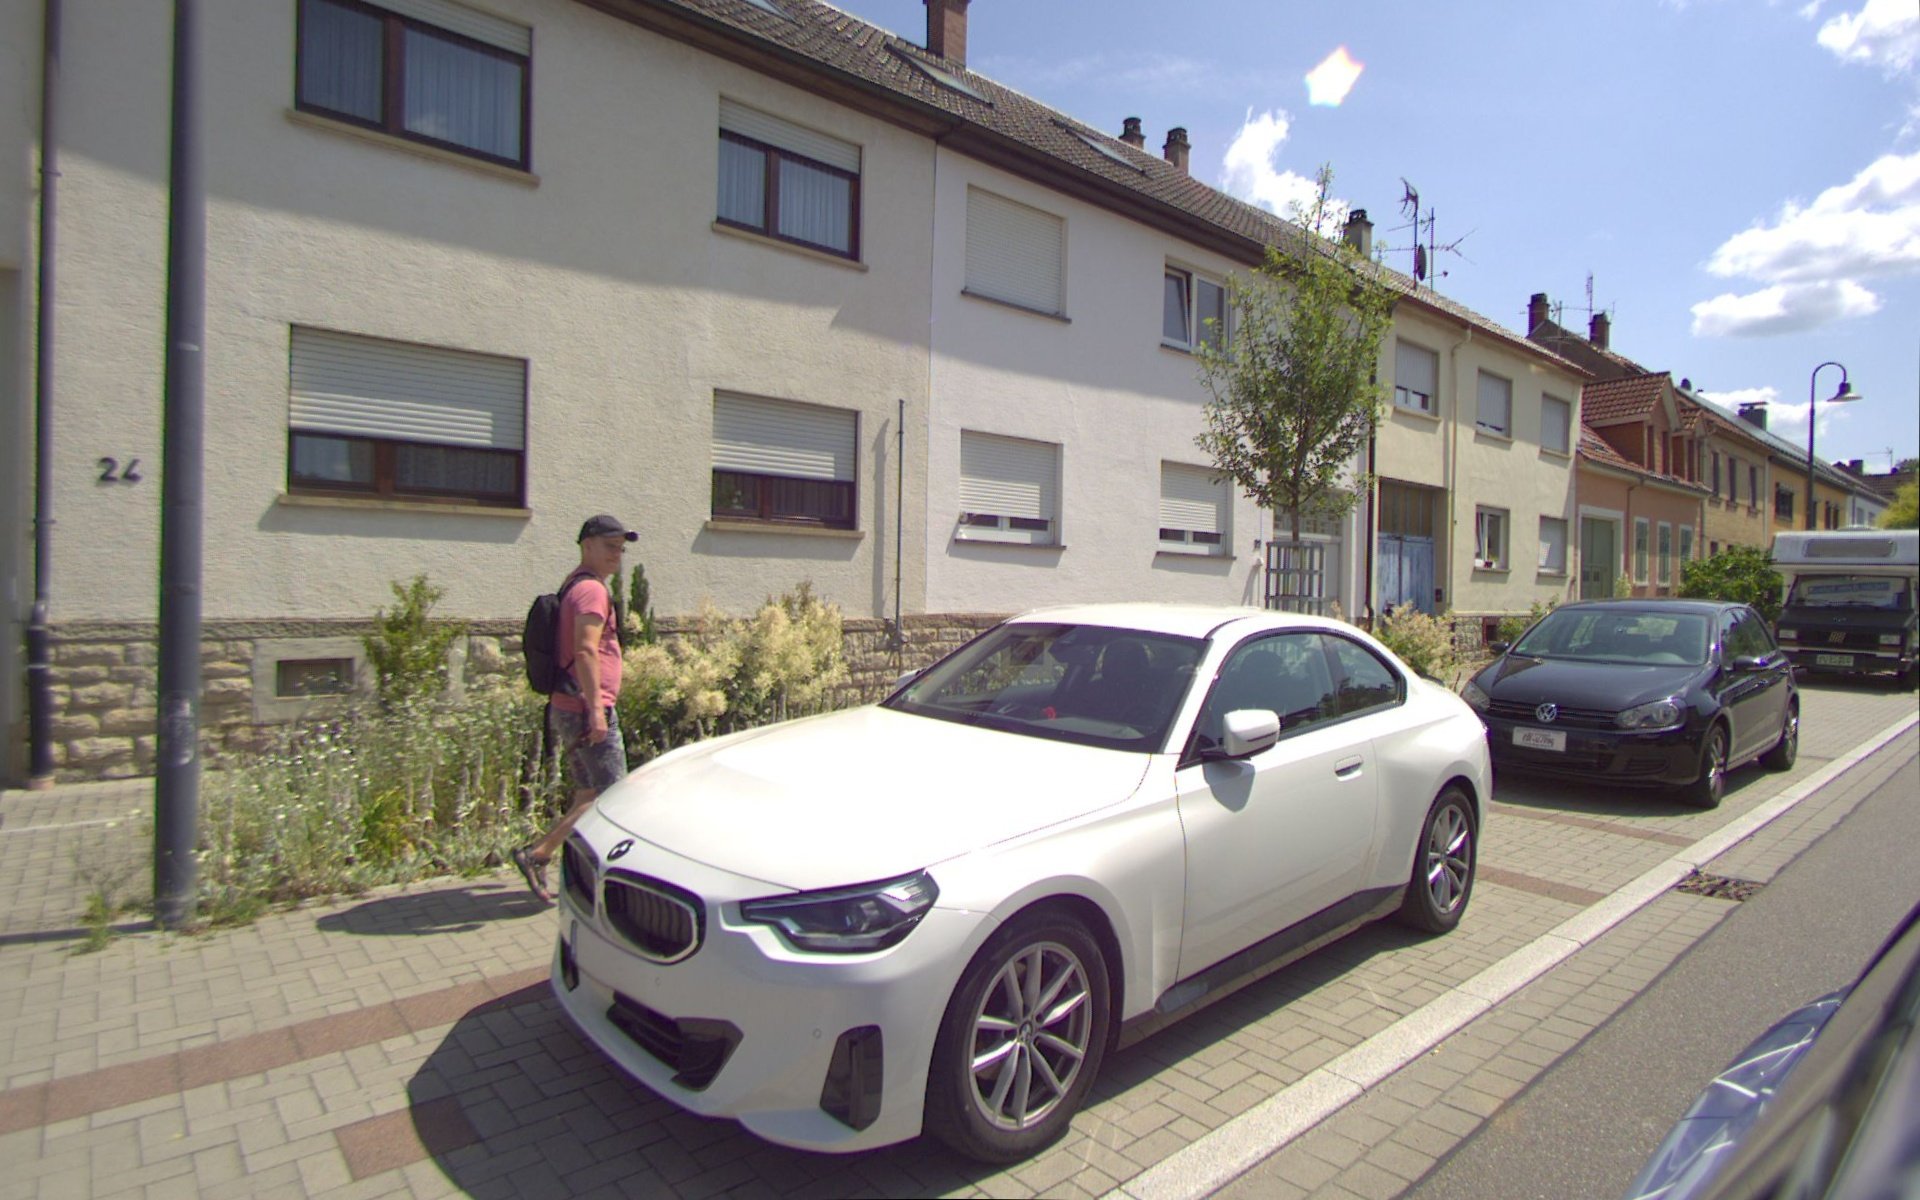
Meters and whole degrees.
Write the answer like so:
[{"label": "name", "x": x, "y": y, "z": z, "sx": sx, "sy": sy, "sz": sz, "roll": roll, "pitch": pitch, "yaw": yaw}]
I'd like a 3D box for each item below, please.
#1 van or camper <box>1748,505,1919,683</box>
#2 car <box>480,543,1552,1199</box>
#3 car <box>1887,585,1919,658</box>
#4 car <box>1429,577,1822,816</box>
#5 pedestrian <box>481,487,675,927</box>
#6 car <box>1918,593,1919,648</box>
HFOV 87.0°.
[{"label": "van or camper", "x": 16.884, "y": -0.119, "z": 18.784, "sx": 5.689, "sy": 2.845, "sz": 2.478, "roll": 0, "pitch": 2, "yaw": -41}, {"label": "car", "x": 0.671, "y": 0.611, "z": 4.145, "sx": 4.443, "sy": 1.484, "sz": 1.834, "roll": 0, "pitch": 1, "yaw": -43}, {"label": "car", "x": 24.721, "y": 0.511, "z": 25.307, "sx": 4.249, "sy": 1.726, "sz": 1.770, "roll": 0, "pitch": 1, "yaw": -41}, {"label": "car", "x": 5.735, "y": 0.608, "z": 8.540, "sx": 3.937, "sy": 1.549, "sz": 1.770, "roll": 0, "pitch": 1, "yaw": -41}, {"label": "pedestrian", "x": -1.698, "y": 0.421, "z": 4.496, "sx": 0.661, "sy": 1.770, "sz": 0.558, "roll": 0, "pitch": 1, "yaw": -40}, {"label": "car", "x": 28.676, "y": 0.575, "z": 28.810, "sx": 4.223, "sy": 1.507, "sz": 1.769, "roll": 0, "pitch": 1, "yaw": -43}]
